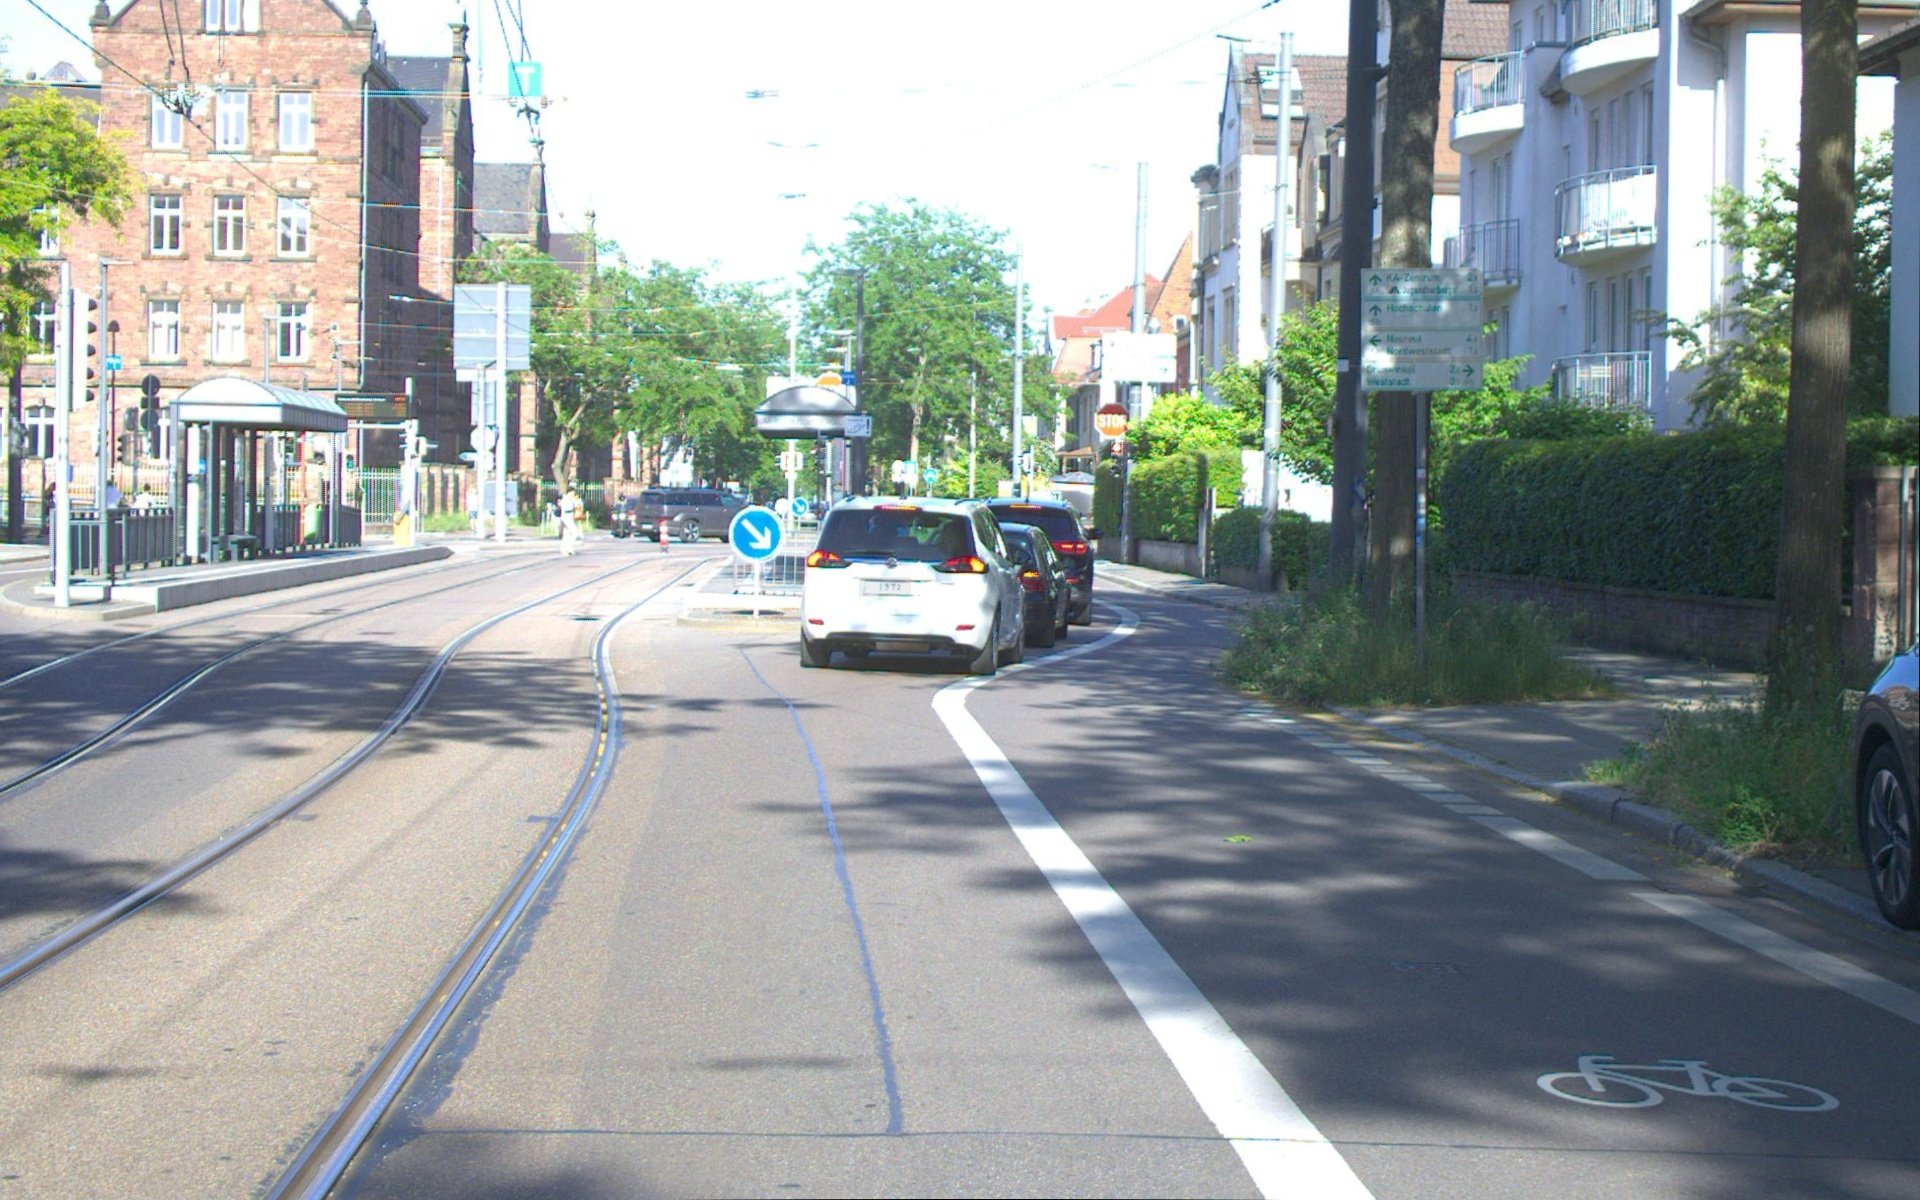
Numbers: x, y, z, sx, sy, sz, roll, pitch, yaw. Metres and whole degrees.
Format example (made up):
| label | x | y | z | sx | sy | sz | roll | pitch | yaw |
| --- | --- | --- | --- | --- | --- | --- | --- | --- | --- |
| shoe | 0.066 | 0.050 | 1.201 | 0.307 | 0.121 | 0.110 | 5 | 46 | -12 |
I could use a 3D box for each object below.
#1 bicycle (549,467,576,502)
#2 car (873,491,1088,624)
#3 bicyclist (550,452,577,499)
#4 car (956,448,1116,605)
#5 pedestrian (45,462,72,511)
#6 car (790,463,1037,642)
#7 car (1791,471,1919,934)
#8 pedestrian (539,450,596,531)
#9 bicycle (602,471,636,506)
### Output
| label | x | y | z | sx | sy | sz | roll | pitch | yaw |
| --- | --- | --- | --- | --- | --- | --- | --- | --- | --- |
| bicycle | -14.830 | -4.322 | 128.274 | 0.821 | 1.292 | 2.678 | 0 | 2 | -3 |
| car | 0.294 | -0.537 | 39.891 | 1.994 | 1.437 | 3.999 | 0 | 2 | 8 |
| bicyclist | -14.826 | -4.658 | 128.551 | 0.943 | 1.728 | 0.861 | 1 | 2 | -2 |
| car | 1.059 | -1.010 | 46.011 | 1.709 | 2.006 | 3.906 | 0 | 2 | 8 |
| pedestrian | -23.053 | -2.903 | 87.935 | 0.558 | 1.255 | 0.530 | 0 | 2 | -3 |
| car | -0.377 | -0.440 | 33.283 | 1.893 | 1.605 | 4.228 | 1 | 0 | 6 |
| car | 4.418 | 0.371 | 11.905 | 1.804 | 1.688 | 4.729 | -3 | 2 | -1 |
| pedestrian | -9.865 | -2.750 | 86.393 | 1.156 | 2.006 | 1.119 | 0 | 2 | 10 |
| bicycle | -13.007 | -4.251 | 131.139 | 1.148 | 1.292 | 2.861 | 0 | 2 | -3 |
